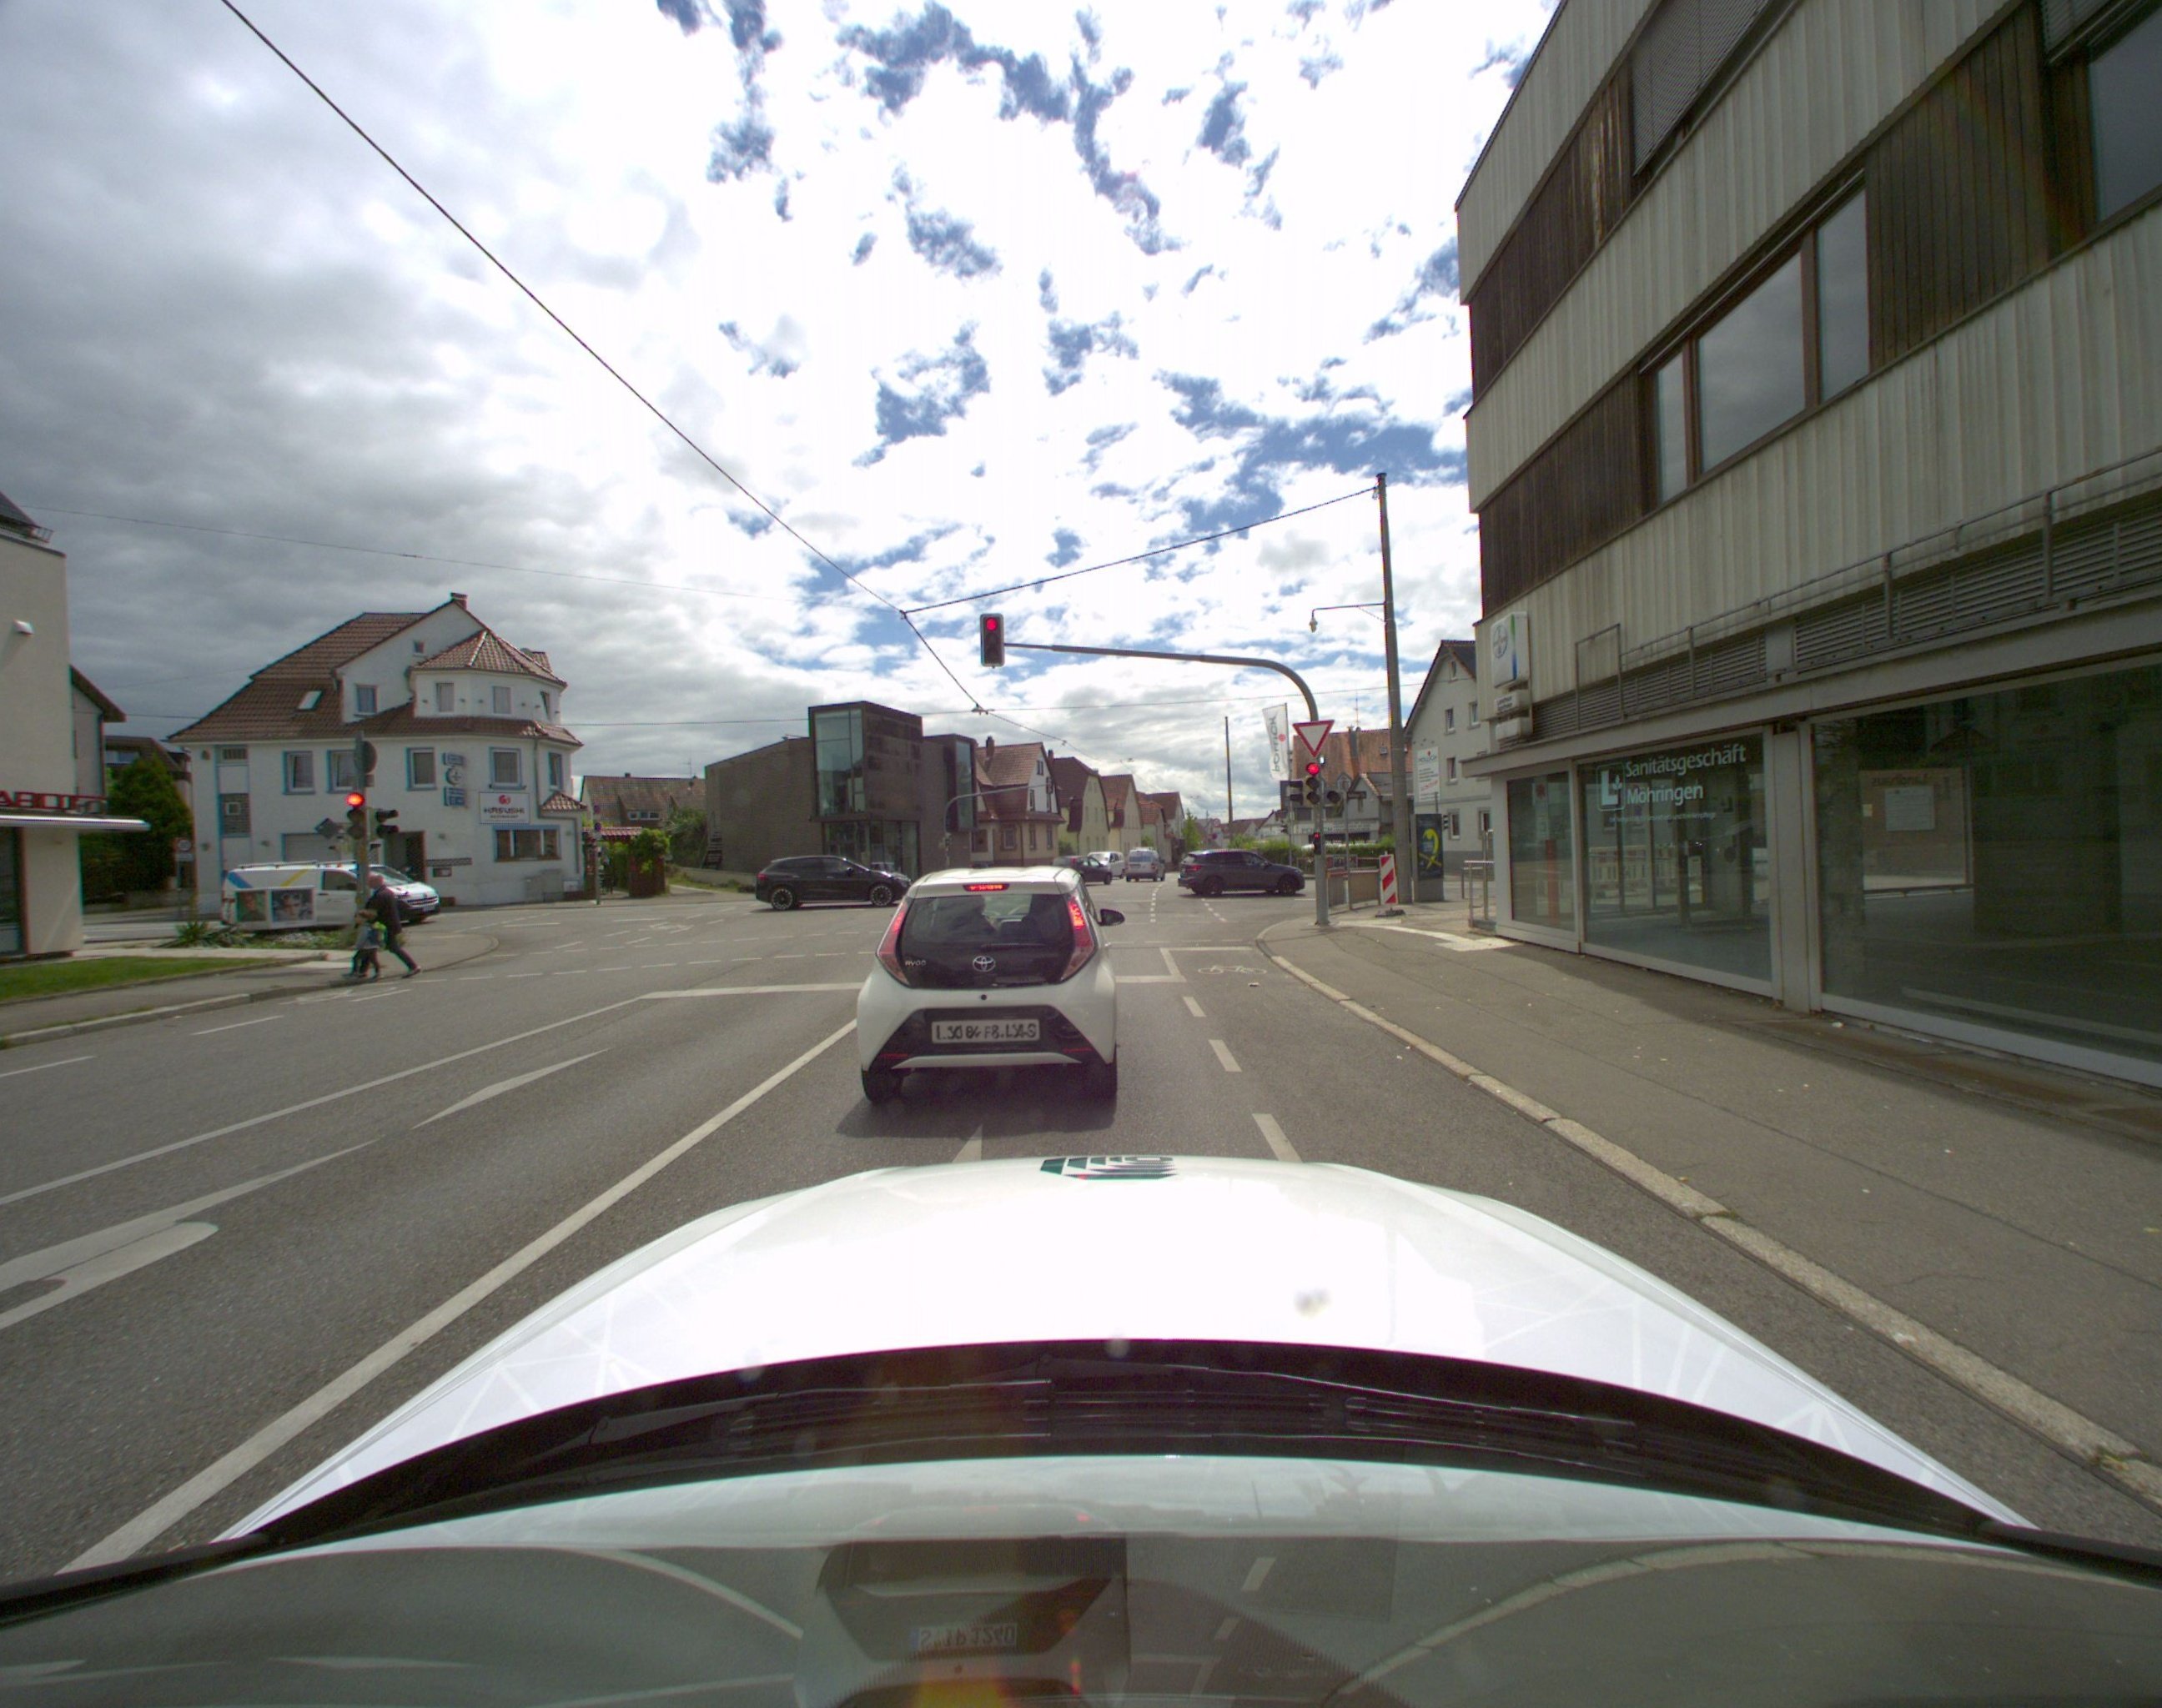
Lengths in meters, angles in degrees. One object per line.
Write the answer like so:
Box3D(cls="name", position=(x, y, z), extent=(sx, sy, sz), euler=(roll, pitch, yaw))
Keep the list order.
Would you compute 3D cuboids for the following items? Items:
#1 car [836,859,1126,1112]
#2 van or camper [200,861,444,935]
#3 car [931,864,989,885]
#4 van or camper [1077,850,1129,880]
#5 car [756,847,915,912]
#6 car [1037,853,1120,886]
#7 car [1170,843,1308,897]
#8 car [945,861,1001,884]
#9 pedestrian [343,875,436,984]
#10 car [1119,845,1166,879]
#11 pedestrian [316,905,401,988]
Box3D(cls="car", position=(-0.582, 0.782, 6.446), extent=(1.691, 1.456, 3.298), euler=(-1, 0, 0))
Box3D(cls="van or camper", position=(-22.595, 1.258, 24.456), extent=(5.113, 2.077, 1.995), euler=(0, 0, -8))
Box3D(cls="car", position=(-8.478, 1.448, 57.101), extent=(3.589, 1.419, 1.697), euler=(-1, 0, 13))
Box3D(cls="van or camper", position=(1.554, 0.717, 54.240), extent=(2.099, 1.926, 5.308), euler=(-1, 0, 17))
Box3D(cls="car", position=(-7.756, 0.765, 26.134), extent=(4.495, 1.742, 1.996), euler=(-2, 2, -7))
Box3D(cls="car", position=(-0.065, 0.708, 38.917), extent=(1.974, 1.486, 4.025), euler=(-1, 0, 35))
Box3D(cls="car", position=(5.458, 0.532, 28.450), extent=(4.291, 1.675, 1.994), euler=(-2, 0, -9))
Box3D(cls="car", position=(-7.831, 1.354, 59.211), extent=(3.589, 1.605, 1.697), euler=(-1, 0, 13))
Box3D(cls="pedestrian", position=(-11.561, 1.230, 13.640), extent=(0.821, 1.721, 0.816), euler=(-2, 0, -6))
Box3D(cls="car", position=(3.582, 0.468, 46.697), extent=(1.979, 1.849, 4.089), euler=(-1, 0, 15))
Box3D(cls="pedestrian", position=(-11.430, 1.448, 12.899), extent=(0.732, 1.221, 0.644), euler=(-2, 0, -6))
